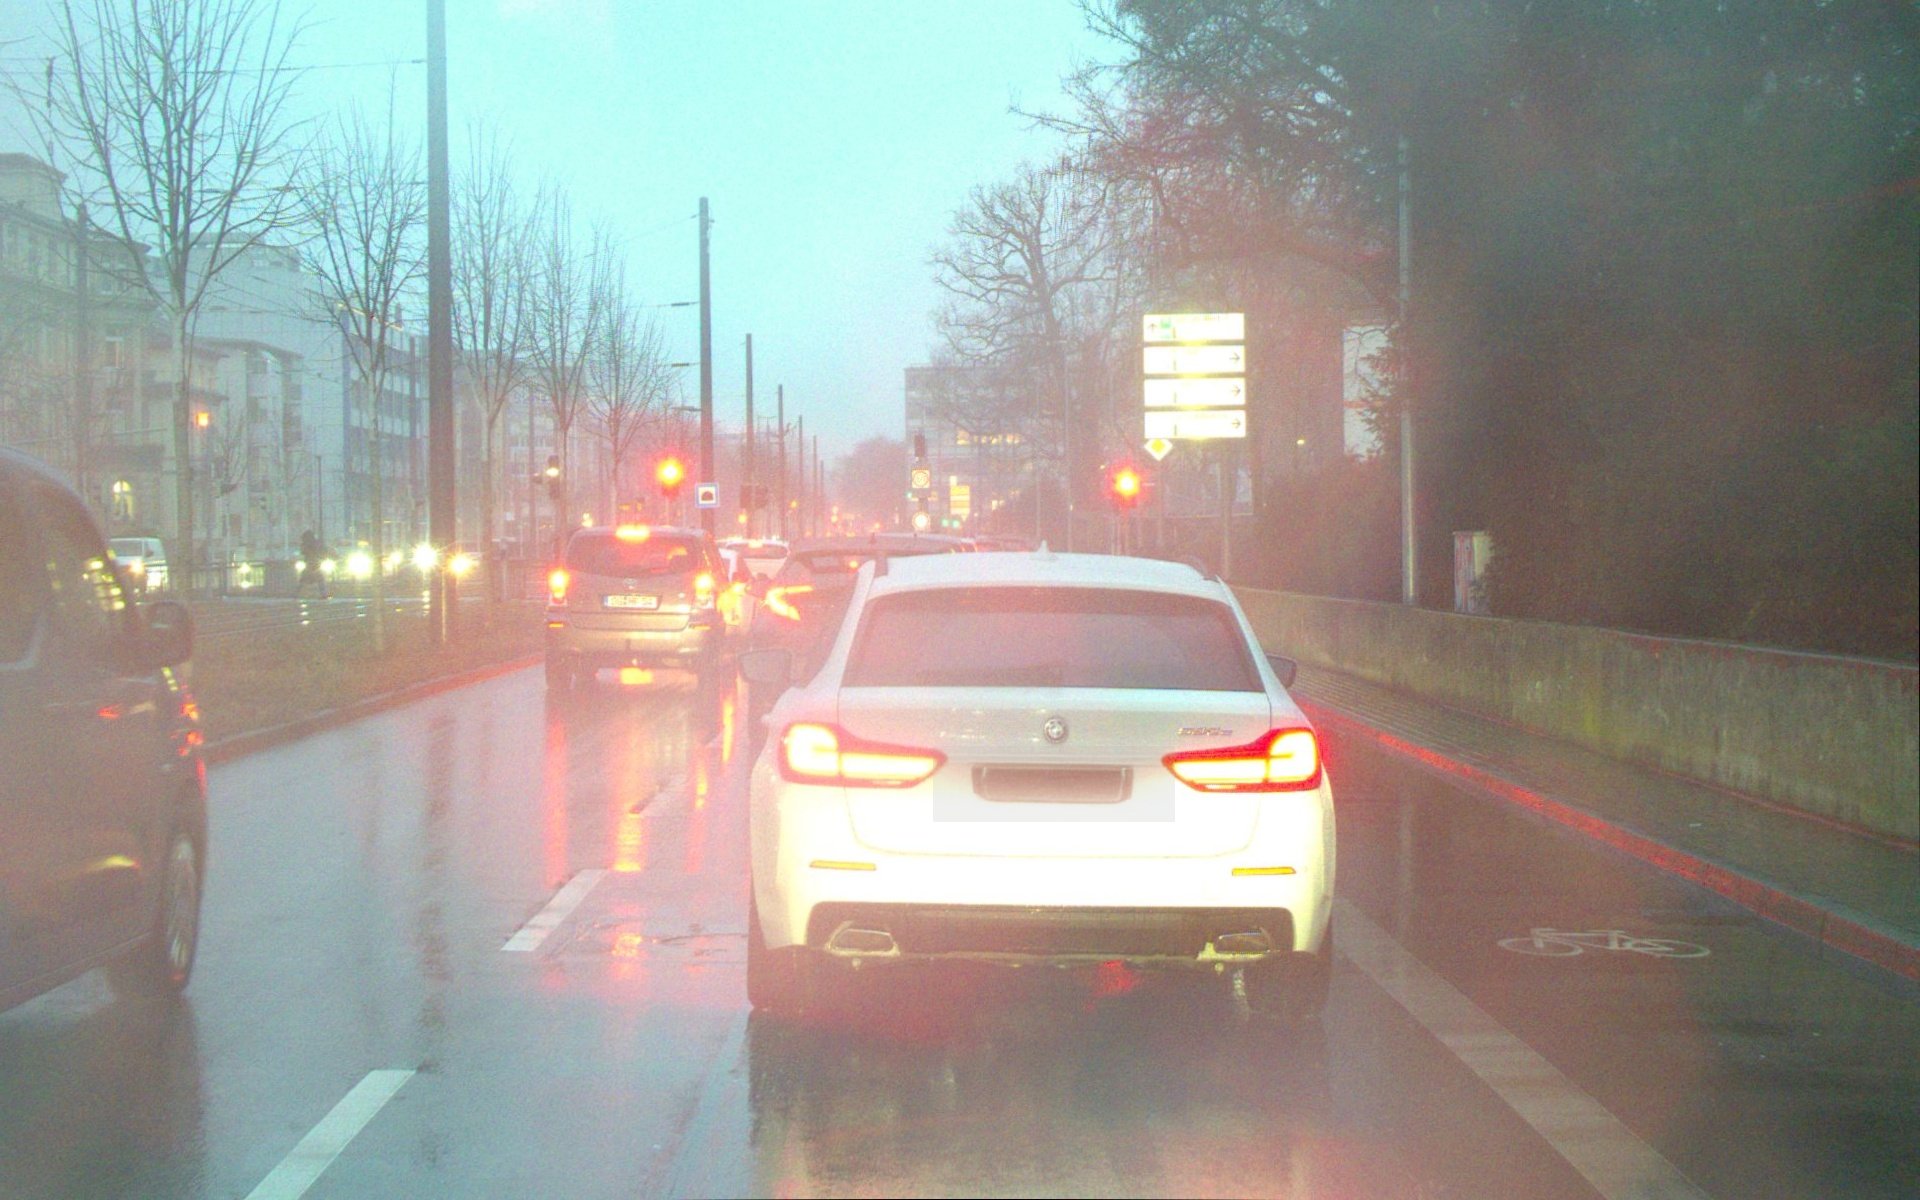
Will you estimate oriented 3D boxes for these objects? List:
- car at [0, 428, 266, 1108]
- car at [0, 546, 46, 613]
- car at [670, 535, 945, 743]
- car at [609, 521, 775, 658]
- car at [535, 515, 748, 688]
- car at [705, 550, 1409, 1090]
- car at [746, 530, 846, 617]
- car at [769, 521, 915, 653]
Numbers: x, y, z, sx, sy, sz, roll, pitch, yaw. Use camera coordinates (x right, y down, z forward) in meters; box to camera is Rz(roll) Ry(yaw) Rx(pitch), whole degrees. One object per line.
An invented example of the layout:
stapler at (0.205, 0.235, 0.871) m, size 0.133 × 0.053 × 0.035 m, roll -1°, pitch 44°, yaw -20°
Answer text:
car at (-3.316, 0.405, 9.485) m, size 1.793 × 1.730 × 4.537 m, roll 1°, pitch 1°, yaw 1°
car at (-25.764, -0.559, 91.444) m, size 1.895 × 1.713 × 4.917 m, roll 0°, pitch 1°, yaw -4°
car at (-1.097, 0.236, 26.419) m, size 1.936 × 1.452 × 4.164 m, roll 0°, pitch 1°, yaw -1°
car at (-3.591, -0.163, 46.669) m, size 1.993 × 1.749 × 4.000 m, roll 1°, pitch 1°, yaw -1°
car at (-3.182, -0.030, 35.048) m, size 1.806 × 1.640 × 4.000 m, roll 1°, pitch 1°, yaw 0°
car at (0.257, 0.599, 11.900) m, size 1.999 × 1.503 × 4.164 m, roll 0°, pitch 1°, yaw -1°
car at (-3.219, -0.545, 68.181) m, size 1.806 × 1.640 × 4.000 m, roll 1°, pitch 1°, yaw 0°
car at (-1.517, -0.205, 45.413) m, size 1.806 × 1.640 × 4.000 m, roll 1°, pitch 1°, yaw 0°
